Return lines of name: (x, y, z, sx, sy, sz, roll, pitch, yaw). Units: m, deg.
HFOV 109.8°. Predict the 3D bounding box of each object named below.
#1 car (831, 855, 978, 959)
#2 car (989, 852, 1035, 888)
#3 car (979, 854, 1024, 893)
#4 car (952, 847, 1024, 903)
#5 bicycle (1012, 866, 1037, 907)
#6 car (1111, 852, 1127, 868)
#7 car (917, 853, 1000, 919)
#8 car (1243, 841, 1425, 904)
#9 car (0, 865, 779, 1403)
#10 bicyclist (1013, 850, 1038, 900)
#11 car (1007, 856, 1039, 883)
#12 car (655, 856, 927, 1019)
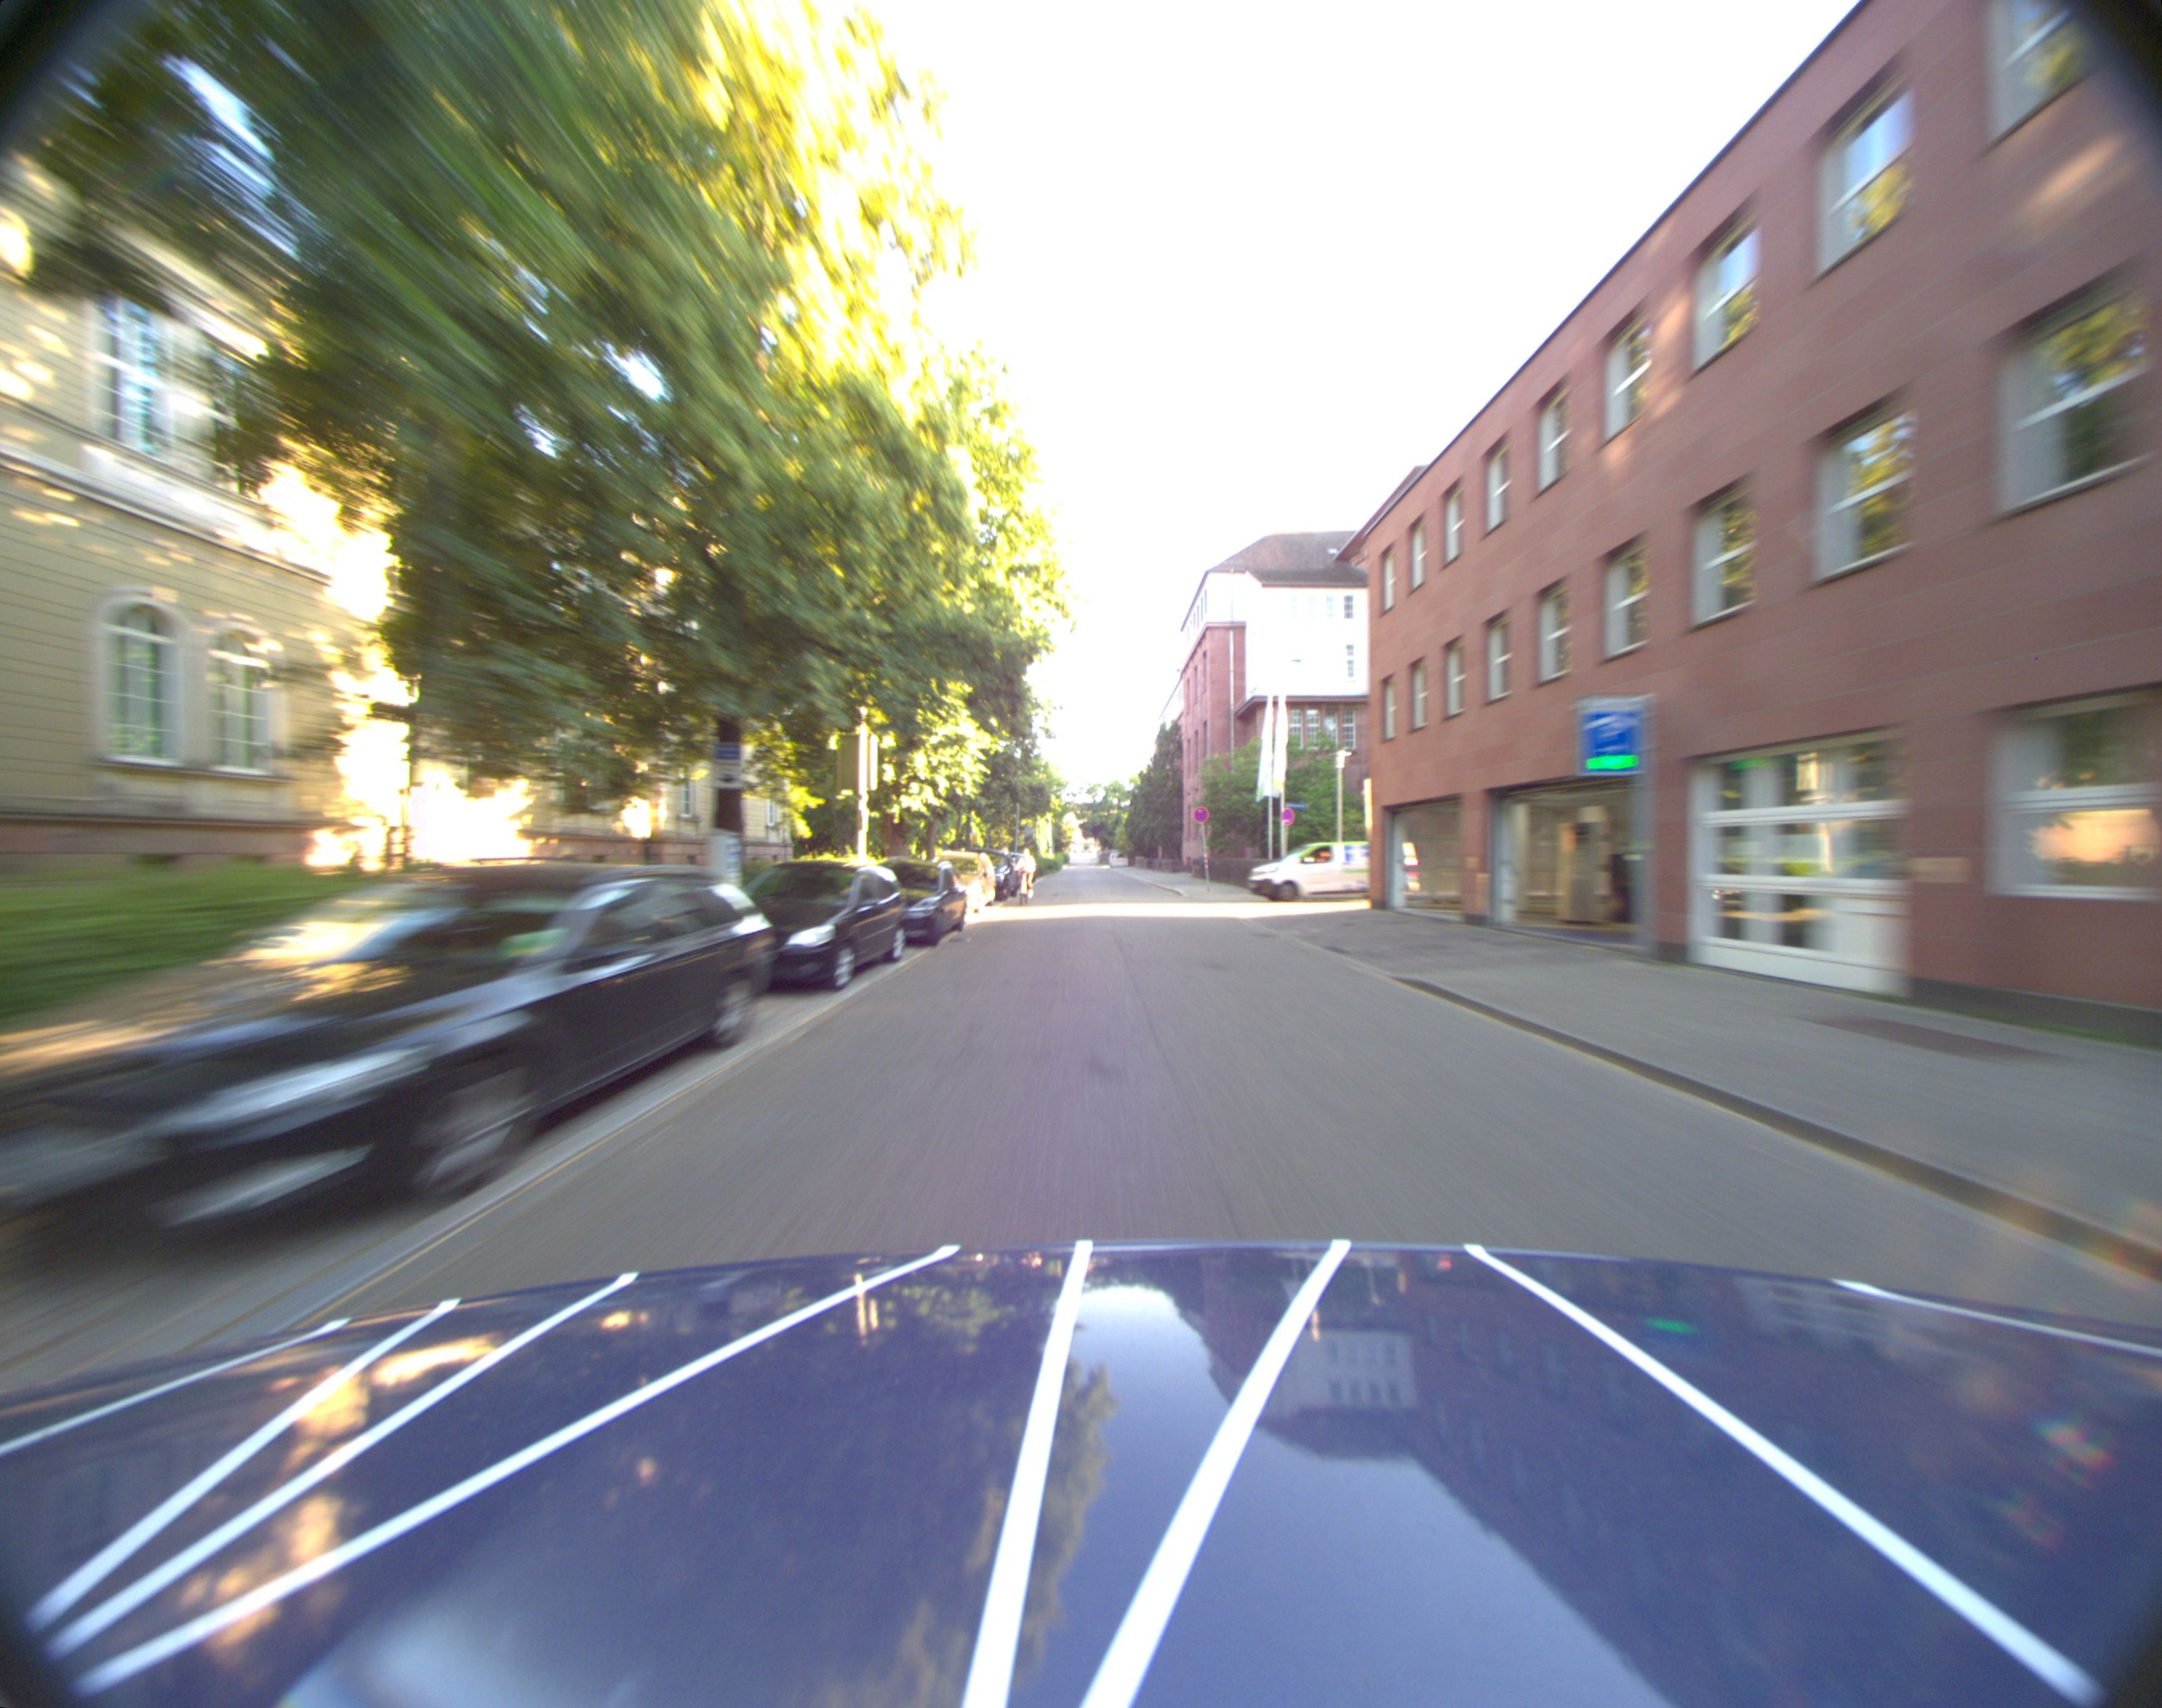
car: (-3.256, 0.892, 14.960, 1.728, 1.525, 4.622, 4, 1, 0)
car: (-3.427, 0.761, 38.662, 1.886, 1.678, 4.694, 0, 1, 0)
car: (-3.472, 0.810, 33.628, 1.728, 1.579, 3.968, 0, 1, -2)
car: (-3.301, 0.680, 27.882, 1.809, 1.803, 4.947, 0, 1, 3)
bicycle: (-1.822, 1.017, 24.740, 0.753, 1.245, 2.209, 0, 0, -2)
car: (5.184, 0.824, 104.313, 1.886, 2.040, 4.324, 0, 1, 0)
car: (-3.462, 0.834, 22.253, 1.728, 1.673, 4.498, 0, 1, 0)
car: (7.925, 0.597, 24.161, 5.105, 1.863, 2.000, -1, -1, -1)
car: (-3.569, 0.883, 4.546, 1.739, 1.498, 4.521, 0, 1, 0)
bicyclist: (-1.797, 0.678, 24.758, 0.753, 1.603, 1.038, 0, 0, -2)
car: (-3.402, 0.869, 44.885, 1.728, 1.430, 3.998, 0, 1, -2)
car: (-3.437, 0.869, 9.973, 1.728, 1.525, 4.190, 4, 1, 3)
